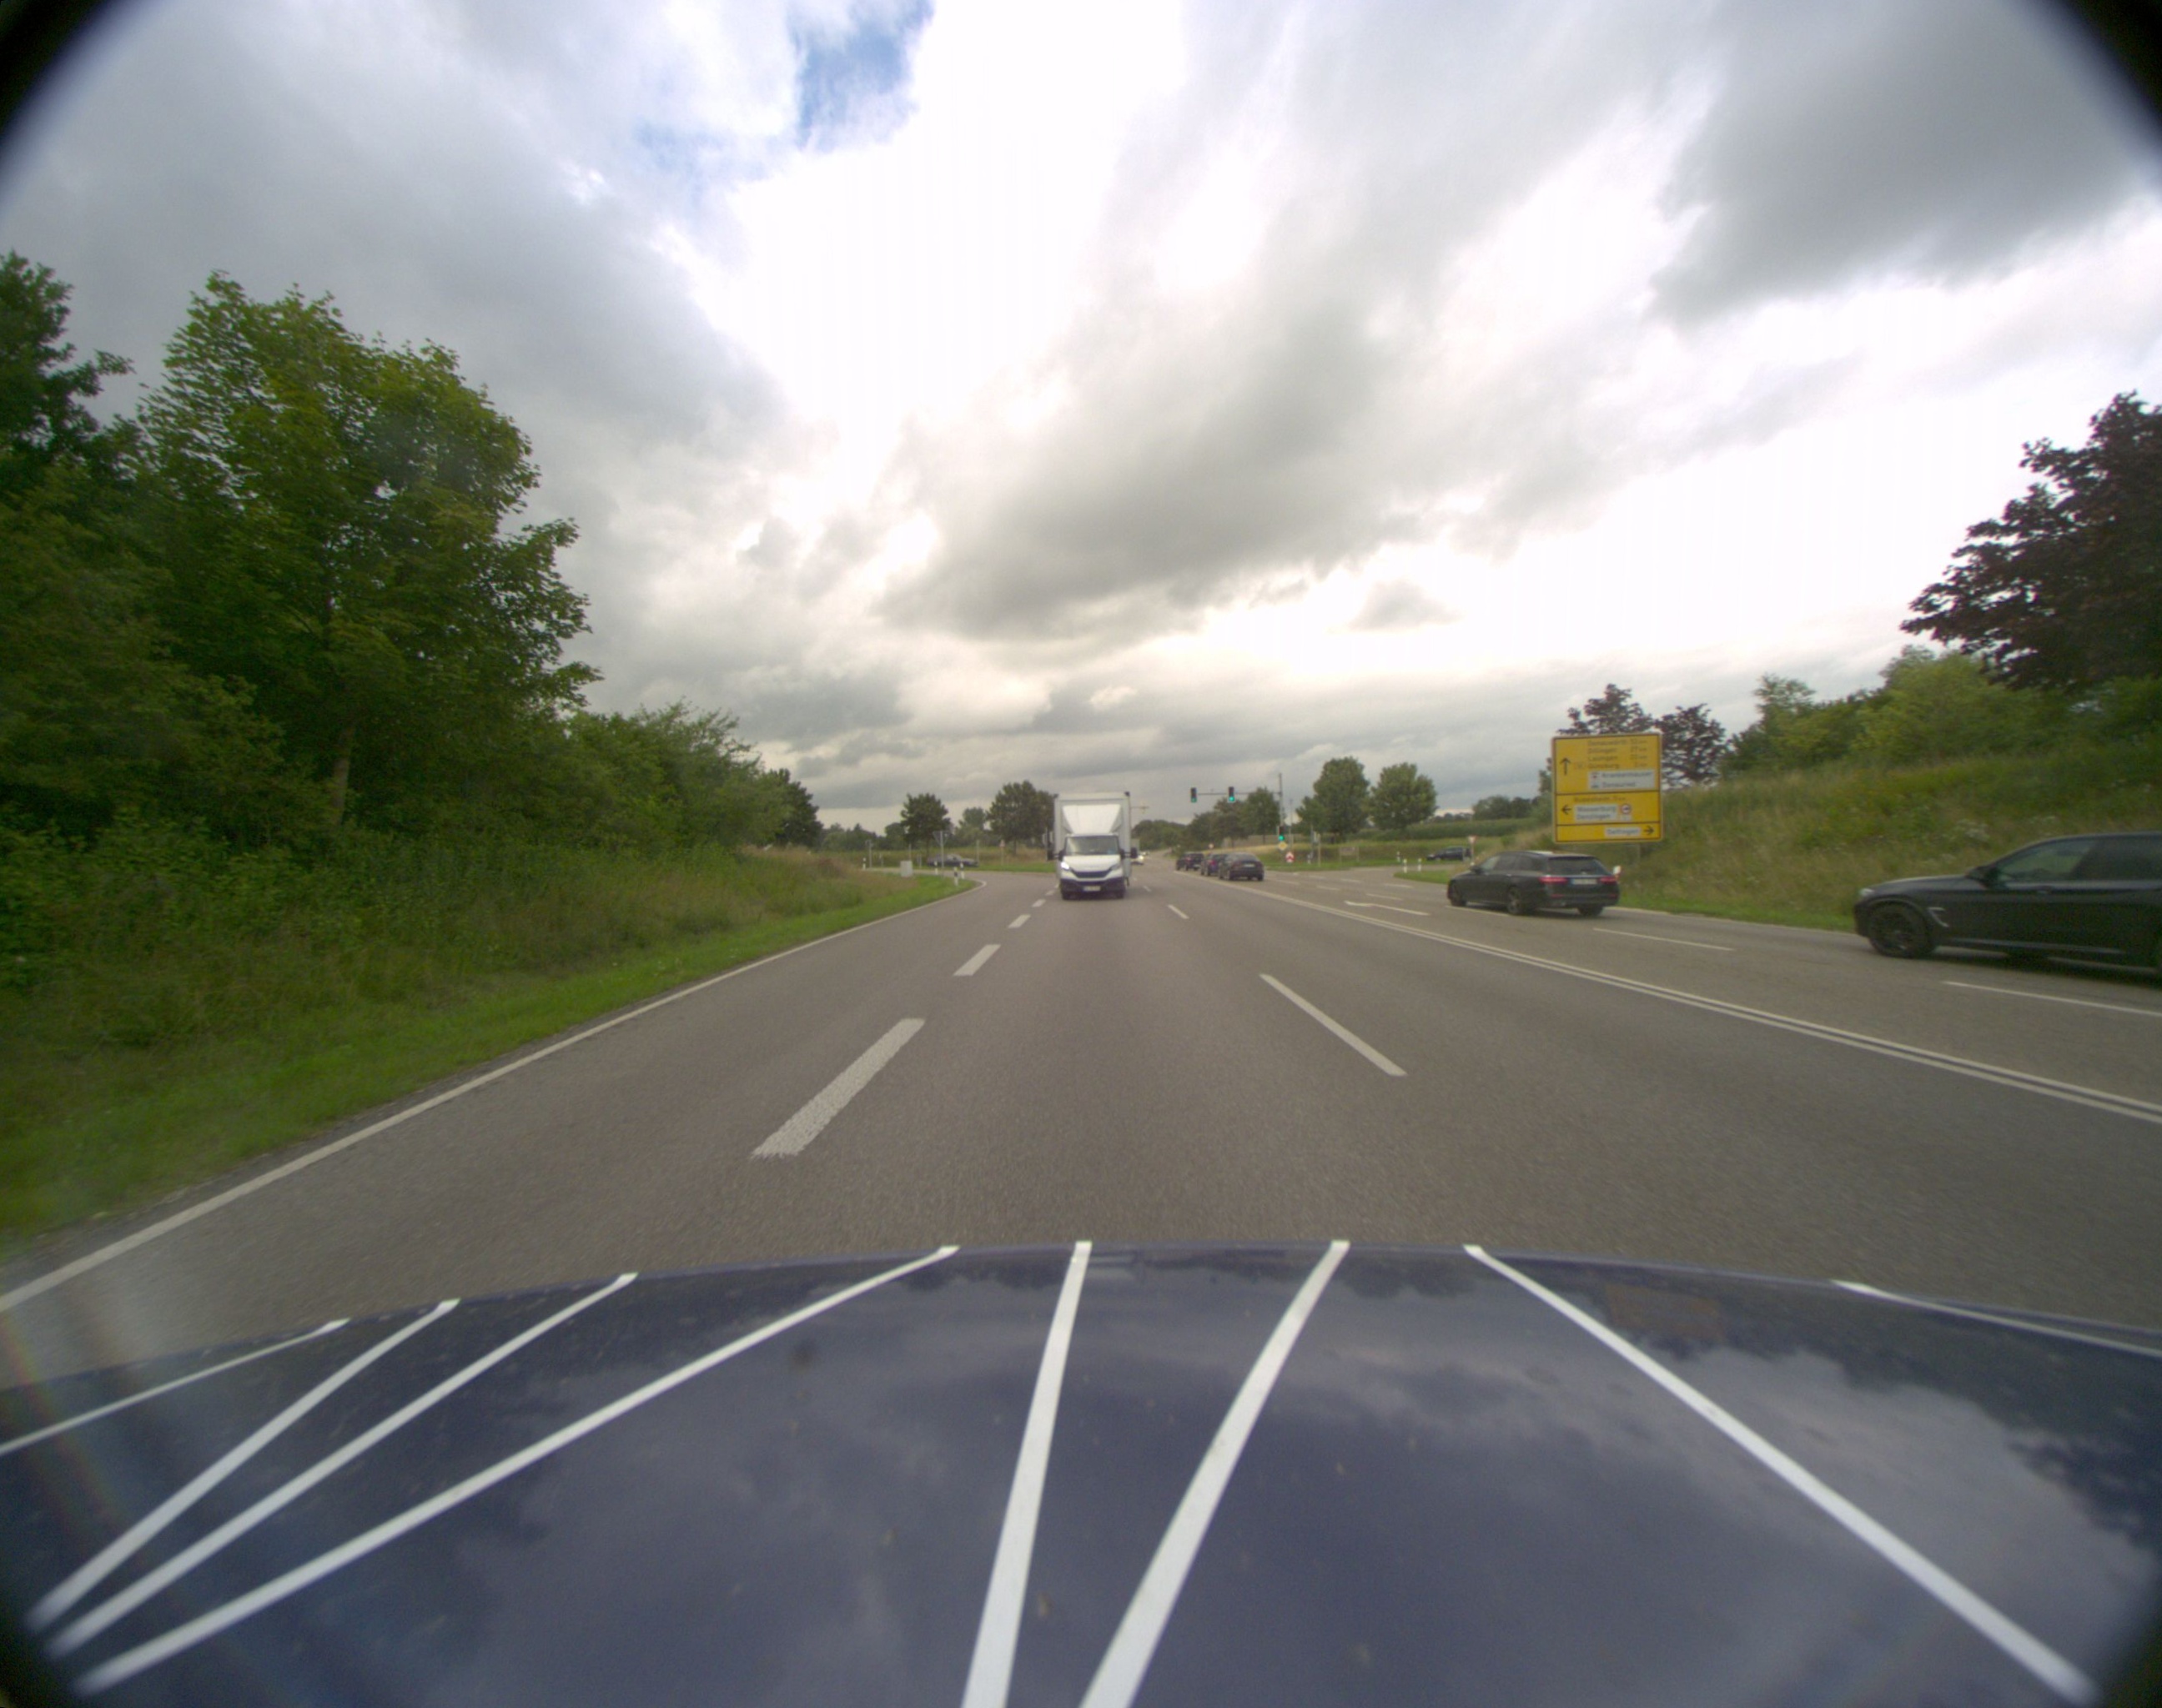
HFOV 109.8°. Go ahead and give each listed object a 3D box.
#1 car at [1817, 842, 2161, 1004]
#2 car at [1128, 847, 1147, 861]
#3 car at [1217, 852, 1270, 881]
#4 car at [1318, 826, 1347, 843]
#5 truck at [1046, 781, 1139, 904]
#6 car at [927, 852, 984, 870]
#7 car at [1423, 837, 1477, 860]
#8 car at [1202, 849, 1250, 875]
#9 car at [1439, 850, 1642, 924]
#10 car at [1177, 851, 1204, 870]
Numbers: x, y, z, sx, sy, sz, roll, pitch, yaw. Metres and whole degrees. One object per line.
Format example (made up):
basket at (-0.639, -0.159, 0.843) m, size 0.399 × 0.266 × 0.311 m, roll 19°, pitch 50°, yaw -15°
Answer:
car at (11.840, 0.671, 8.741) m, size 1.998 × 1.601 × 4.992 m, roll -1°, pitch 1°, yaw 2°
car at (6.586, 0.012, 88.910) m, size 1.998 × 1.555 × 4.749 m, roll -2°, pitch 1°, yaw 3°
car at (8.410, 0.603, 39.660) m, size 1.770 × 1.375 × 4.543 m, roll -1°, pitch 1°, yaw 0°
car at (32.269, -2.533, 97.680) m, size 1.999 × 2.002 × 3.998 m, roll -3°, pitch 0°, yaw -5°
truck at (0.596, -0.406, 27.758) m, size 2.836 × 3.742 × 8.800 m, roll 0°, pitch 1°, yaw 3°
car at (-11.268, 0.635, 68.518) m, size 4.659 × 1.494 × 2.001 m, roll -1°, pitch 1°, yaw 10°
car at (33.951, -0.533, 69.932) m, size 3.996 × 2.002 × 2.000 m, roll -1°, pitch 1°, yaw 2°
car at (8.693, 0.425, 46.001) m, size 2.053 × 1.475 × 4.881 m, roll 0°, pitch 1°, yaw 1°
car at (10.732, 0.682, 18.308) m, size 1.998 × 1.485 × 4.993 m, roll -1°, pitch 1°, yaw 2°
car at (8.553, 0.488, 59.533) m, size 1.730 × 1.435 × 3.944 m, roll -1°, pitch 0°, yaw 3°
